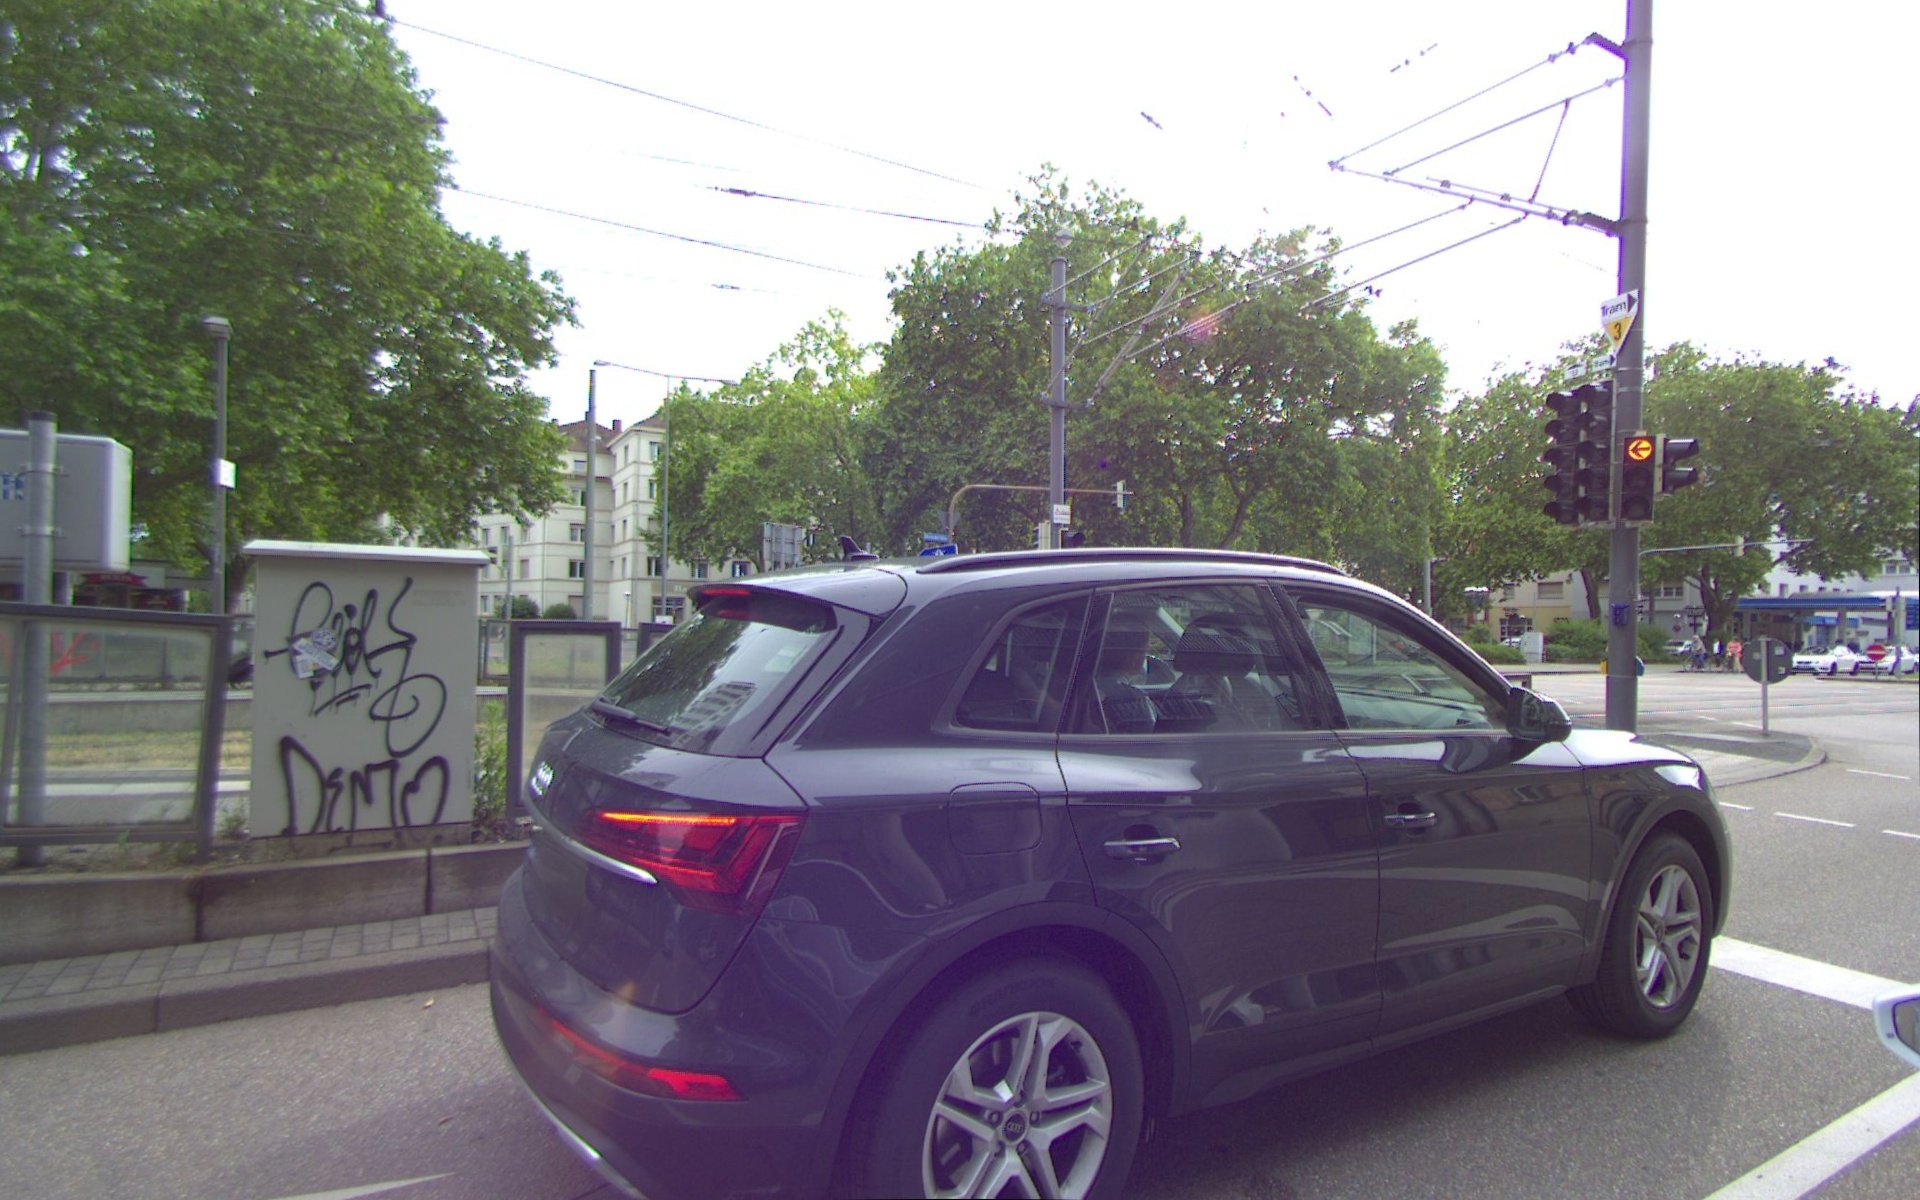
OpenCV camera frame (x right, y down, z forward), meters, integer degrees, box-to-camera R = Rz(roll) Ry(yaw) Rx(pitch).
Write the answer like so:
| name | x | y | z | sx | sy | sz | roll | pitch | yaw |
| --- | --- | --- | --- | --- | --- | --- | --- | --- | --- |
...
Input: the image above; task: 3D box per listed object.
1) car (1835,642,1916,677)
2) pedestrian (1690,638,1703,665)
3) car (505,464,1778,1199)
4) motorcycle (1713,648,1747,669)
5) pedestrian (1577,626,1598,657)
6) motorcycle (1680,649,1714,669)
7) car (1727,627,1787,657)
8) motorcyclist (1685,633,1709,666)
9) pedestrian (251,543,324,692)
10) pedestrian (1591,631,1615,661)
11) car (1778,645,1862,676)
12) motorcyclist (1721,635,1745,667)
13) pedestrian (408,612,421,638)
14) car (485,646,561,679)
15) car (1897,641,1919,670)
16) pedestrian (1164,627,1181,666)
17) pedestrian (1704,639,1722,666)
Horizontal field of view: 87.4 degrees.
| name | x | y | z | sx | sy | sz | roll | pitch | yaw |
| --- | --- | --- | --- | --- | --- | --- | --- | --- | --- |
| car | 46.974 | 3.029 | 51.511 | 3.953 | 1.615 | 1.984 | 2 | 0 | -30 |
| pedestrian | 41.613 | 2.902 | 56.759 | 0.421 | 1.479 | 0.474 | 2 | -1 | -30 |
| car | 0.819 | 0.657 | 3.451 | 4.177 | 1.658 | 1.725 | 2 | 0 | -30 |
| motorcycle | 36.976 | 2.812 | 48.236 | 1.928 | 0.941 | 0.604 | 2 | -1 | -30 |
| pedestrian | 36.046 | 2.386 | 57.713 | 0.677 | 1.735 | 0.870 | 1 | -1 | 6 |
| motorcycle | 35.908 | 2.865 | 48.925 | 1.928 | 0.941 | 0.604 | 2 | -1 | -30 |
| car | 55.086 | 2.894 | 69.398 | 3.953 | 2.040 | 1.984 | 2 | -1 | -30 |
| motorcyclist | 35.912 | 2.404 | 48.935 | 0.863 | 1.540 | 0.617 | 2 | -1 | -30 |
| pedestrian | -8.317 | 0.217 | 12.442 | 0.658 | 1.773 | 0.732 | 2 | 0 | -30 |
| pedestrian | 36.806 | 2.625 | 57.502 | 0.858 | 1.735 | 0.875 | 1 | -1 | 10 |
| car | 41.391 | 2.916 | 48.336 | 4.025 | 1.338 | 1.739 | 2 | 0 | -29 |
| motorcyclist | 37.276 | 2.456 | 48.428 | 0.863 | 1.540 | 0.617 | 2 | -1 | -30 |
| pedestrian | -44.051 | 2.016 | 81.059 | 0.660 | 2.040 | 0.673 | 2 | 0 | 37 |
| car | -24.670 | 3.498 | 56.719 | 3.929 | 1.706 | 1.996 | 0 | -1 | 31 |
| car | 52.777 | 3.041 | 54.593 | 3.593 | 1.497 | 1.649 | 2 | 0 | -29 |
| pedestrian | 8.637 | 1.872 | 40.730 | 0.643 | 1.530 | 0.684 | 1 | -1 | 12 |
| pedestrian | 42.206 | 2.926 | 56.290 | 0.550 | 1.499 | 0.644 | 2 | -1 | -30 |
